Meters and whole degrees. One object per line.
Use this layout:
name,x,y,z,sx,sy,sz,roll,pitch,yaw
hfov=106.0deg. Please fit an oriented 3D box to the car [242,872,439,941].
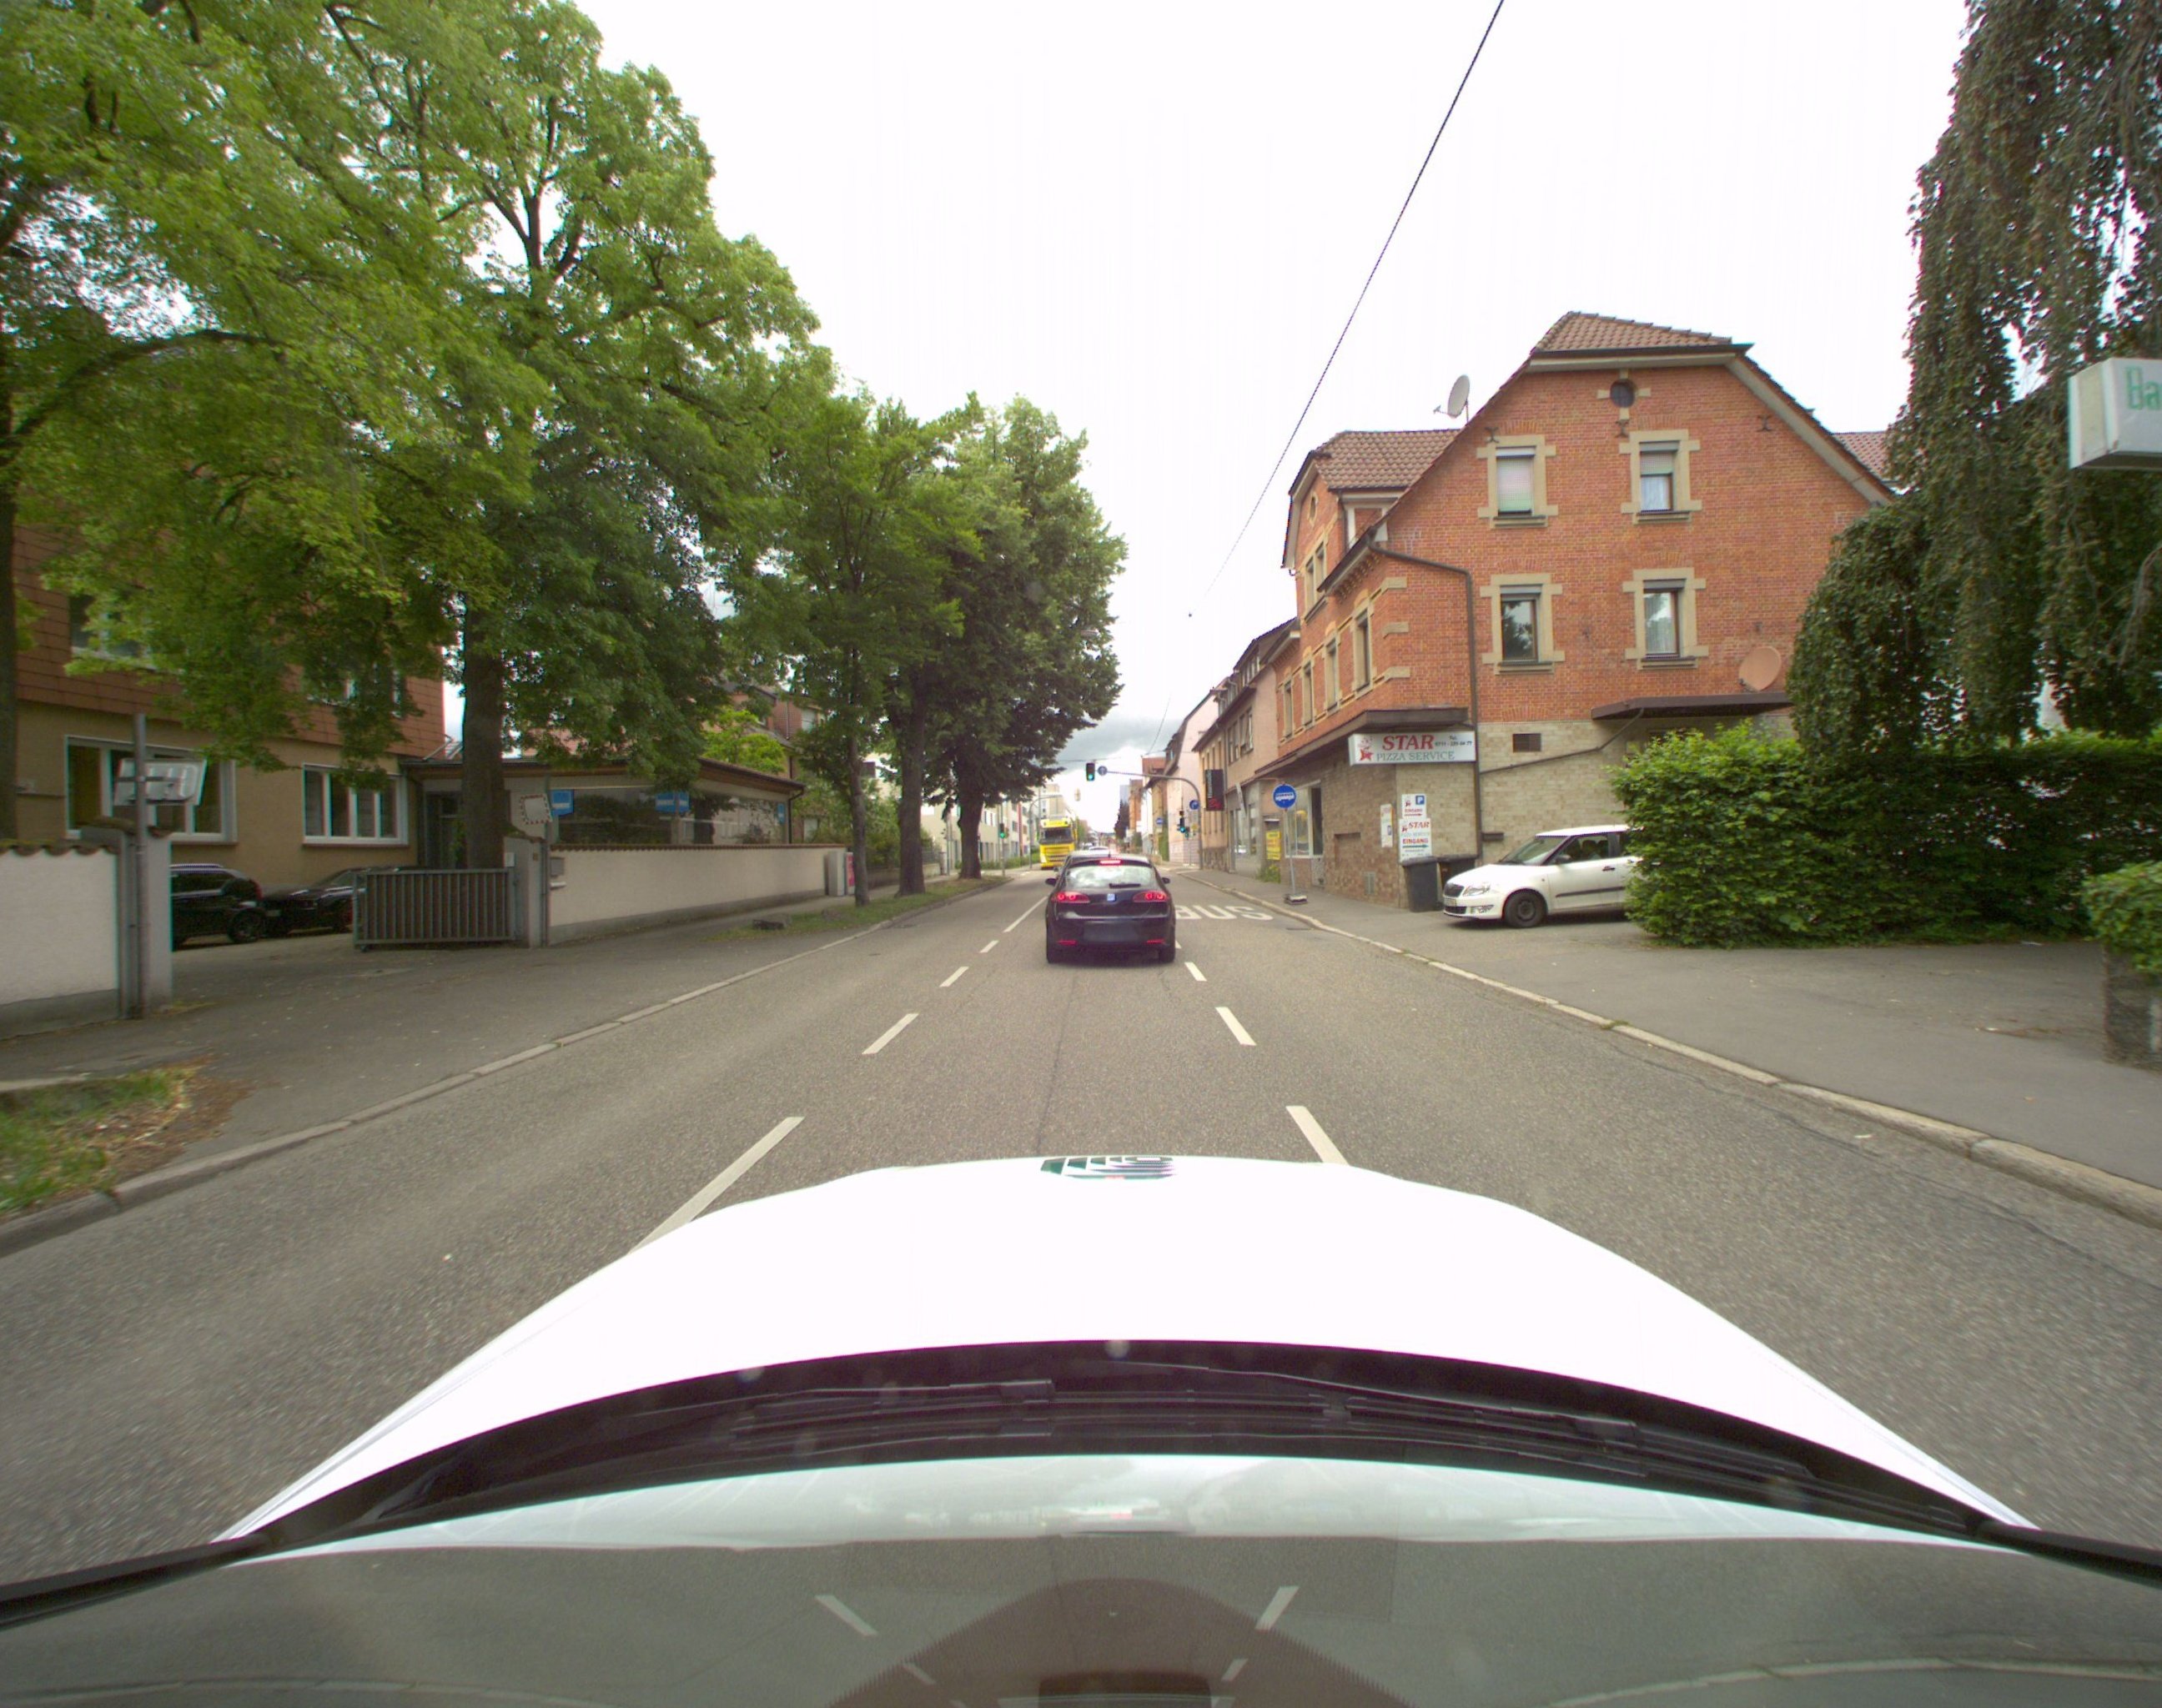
car,-16.666,1.130,18.546,1.336,1.330,3.398,-1,0,1

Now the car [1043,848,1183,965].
car,0.458,0.659,12.249,1.752,1.442,4.001,-1,0,1

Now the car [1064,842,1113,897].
car,0.285,0.491,27.520,1.526,1.693,3.694,-1,0,1

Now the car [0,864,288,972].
car,-17.235,1.032,14.736,1.774,1.640,4.000,-1,0,1

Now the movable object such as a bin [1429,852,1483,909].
movable object such as a bin,7.398,0.516,16.088,0.696,1.059,0.724,-4,0,1

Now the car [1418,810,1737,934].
car,7.800,0.273,13.085,4.011,1.470,1.603,-6,0,3

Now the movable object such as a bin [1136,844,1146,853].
movable object such as a bin,10.635,-0.964,144.819,1.811,1.437,1.994,-1,0,2

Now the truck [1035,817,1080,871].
truck,-1.666,-0.705,61.100,2.833,3.782,7.673,-1,0,2

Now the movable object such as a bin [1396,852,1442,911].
movable object such as a bin,6.666,0.531,16.078,0.604,1.100,0.623,-4,0,1

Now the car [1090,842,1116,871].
car,1.342,0.161,49.887,1.526,1.693,3.694,-1,0,1

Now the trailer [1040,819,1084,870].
trailer,-1.424,-0.722,68.588,2.847,3.808,14.397,-1,0,2

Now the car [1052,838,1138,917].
car,0.351,0.513,19.665,1.836,1.693,4.001,-1,0,1

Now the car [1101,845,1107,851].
car,6.696,-1.847,234.338,1.526,1.693,3.694,-2,0,1
